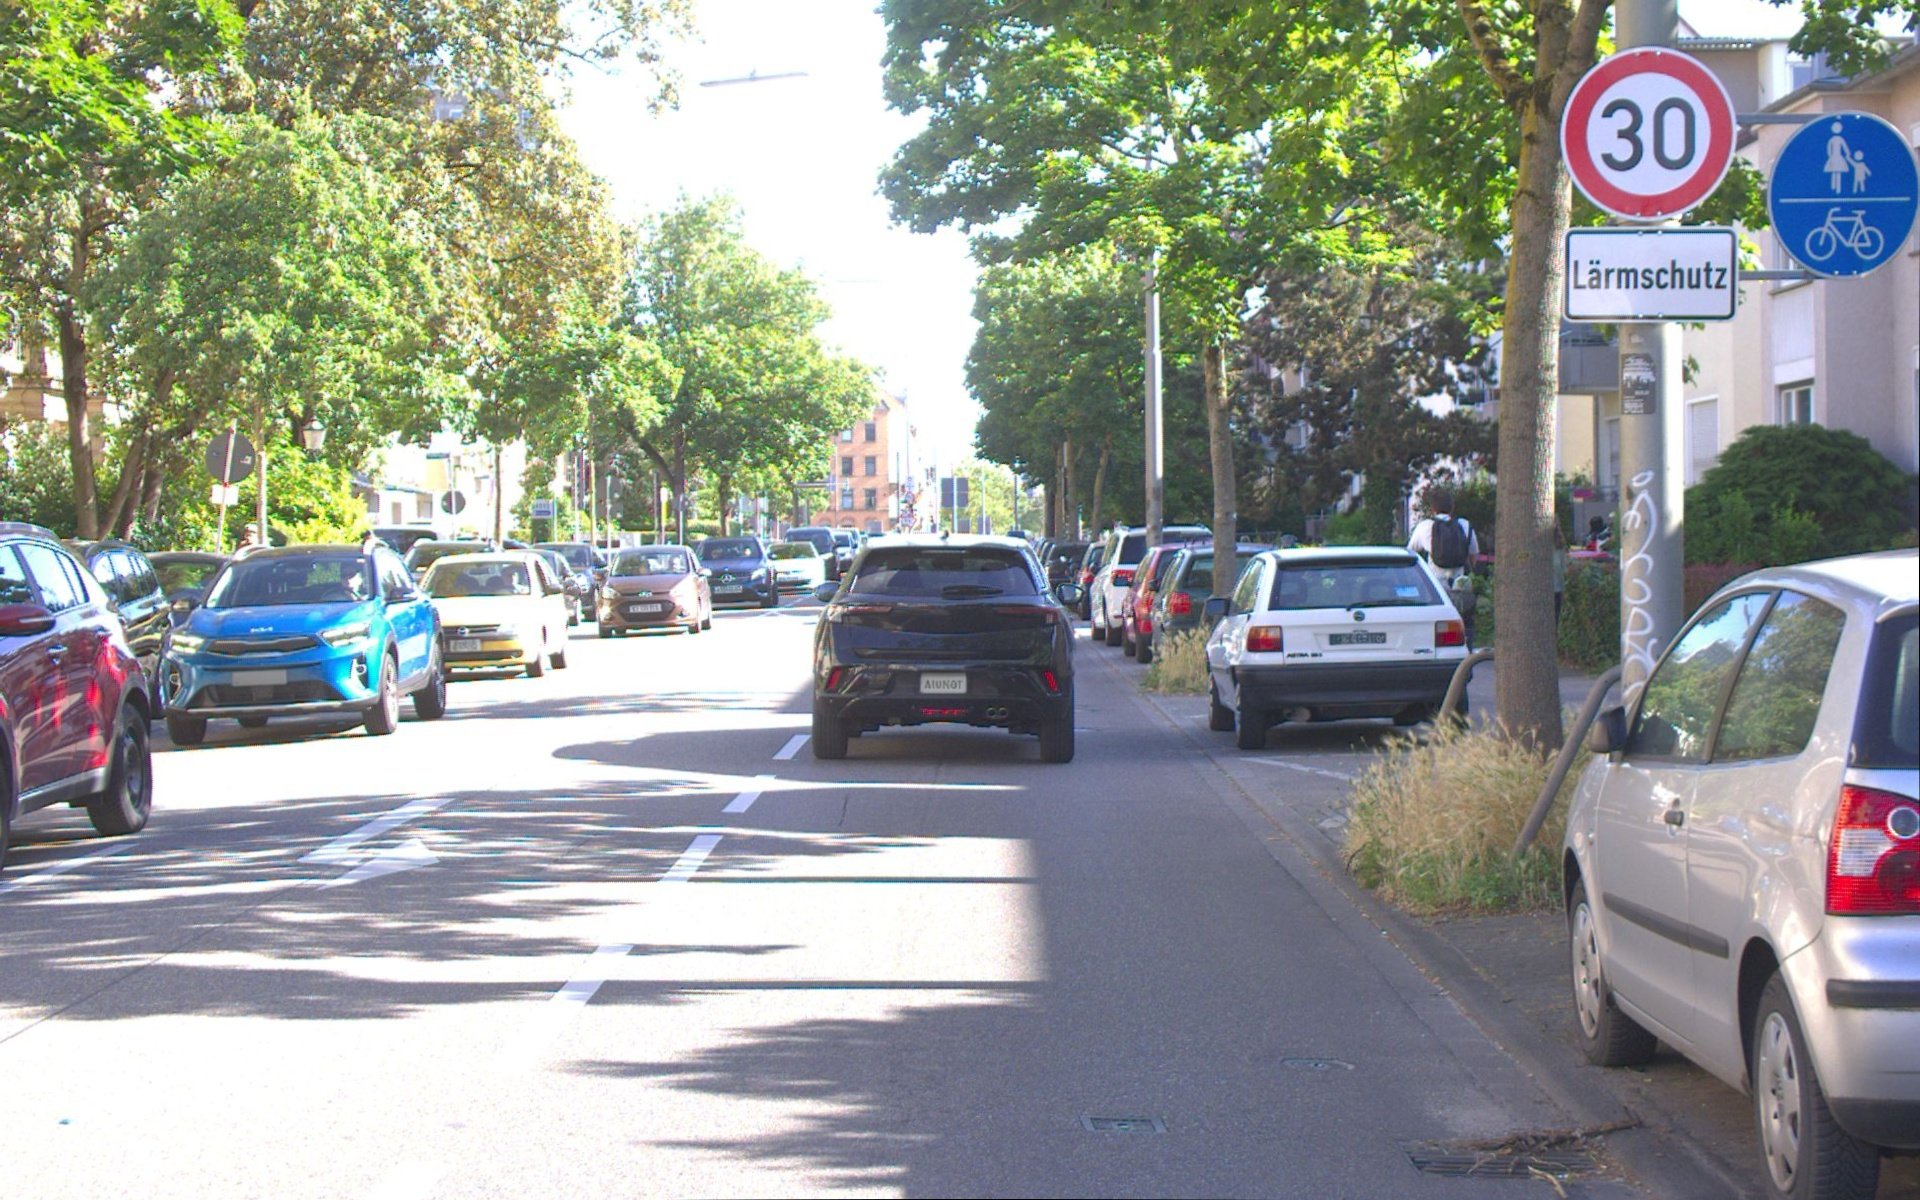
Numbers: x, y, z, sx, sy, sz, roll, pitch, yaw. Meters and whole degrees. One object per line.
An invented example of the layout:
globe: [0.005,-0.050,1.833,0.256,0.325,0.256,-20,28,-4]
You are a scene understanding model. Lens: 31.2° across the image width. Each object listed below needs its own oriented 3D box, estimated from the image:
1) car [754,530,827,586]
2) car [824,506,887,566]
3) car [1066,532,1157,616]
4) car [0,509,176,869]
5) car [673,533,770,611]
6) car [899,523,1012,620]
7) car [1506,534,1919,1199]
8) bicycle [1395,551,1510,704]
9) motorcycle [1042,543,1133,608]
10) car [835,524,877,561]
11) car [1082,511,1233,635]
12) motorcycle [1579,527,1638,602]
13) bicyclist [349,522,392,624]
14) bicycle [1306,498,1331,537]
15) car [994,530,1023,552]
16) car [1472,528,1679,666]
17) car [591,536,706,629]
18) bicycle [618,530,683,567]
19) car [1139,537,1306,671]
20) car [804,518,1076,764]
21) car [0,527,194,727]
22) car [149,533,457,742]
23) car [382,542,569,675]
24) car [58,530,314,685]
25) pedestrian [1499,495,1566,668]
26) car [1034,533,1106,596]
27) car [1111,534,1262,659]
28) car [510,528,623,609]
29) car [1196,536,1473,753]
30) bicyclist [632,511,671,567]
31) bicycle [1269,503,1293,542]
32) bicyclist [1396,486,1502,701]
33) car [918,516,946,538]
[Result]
car: [-4.624,-1.163,94.315,1.733,1.407,4.192,-3,1,0]
car: [-3.594,-2.222,118.885,2.016,1.945,5.179,-2,1,-1]
car: [2.823,-0.506,64.453,1.620,1.494,3.649,-1,1,2]
car: [-5.174,0.418,16.411,1.721,1.611,4.300,-3,1,1]
car: [-5.300,-0.652,76.872,1.836,1.608,4.401,-3,1,0]
car: [-0.040,-0.506,57.879,1.830,1.573,3.839,-1,1,1]
car: [2.499,0.567,8.773,1.567,1.452,3.865,-2,1,0]
bicycle: [4.203,0.212,29.445,0.698,1.242,1.822,-1,1,0]
motorcycle: [2.549,-0.498,69.270,0.697,1.267,2.432,-3,1,-27]
car: [-4.851,-2.699,161.482,1.806,1.642,4.673,-3,1,0]
car: [2.766,-0.411,48.909,1.769,1.653,4.341,-1,1,-1]
motorcycle: [12.183,-0.675,64.620,0.636,1.371,2.426,-1,1,0]
bicyclist: [-10.119,-0.469,59.022,0.608,1.748,0.691,0,1,0]
bicycle: [12.069,-2.779,115.745,0.591,1.283,1.689,-3,1,1]
car: [3.642,-4.387,256.705,1.994,1.514,4.000,2,1,2]
car: [6.657,-0.067,37.481,1.532,1.351,3.718,-3,1,0]
car: [-5.164,-0.321,57.309,1.581,1.446,3.745,-2,1,-1]
bicycle: [-10.124,-1.684,112.559,2.186,1.188,0.449,-2,1,-37]
car: [2.821,0.007,37.538,1.532,1.351,3.718,-1,1,0]
car: [-0.128,0.238,24.193,1.745,1.568,3.558,1,1,0]
car: [-7.931,0.171,29.666,1.670,1.599,4.394,1,1,0]
car: [-5.292,0.247,28.161,1.655,1.512,4.076,-3,1,0]
car: [-5.549,0.065,39.741,1.634,1.398,3.736,-2,1,-1]
car: [-7.827,0.037,35.087,1.601,1.472,3.931,1,1,2]
pedestrian: [5.615,-0.182,33.734,0.538,1.671,0.493,-1,1,0]
car: [2.567,-0.848,80.777,1.586,1.391,4.454,-2,1,1]
car: [2.748,-0.076,42.265,1.531,1.444,3.718,-1,1,-1]
car: [-7.786,-0.654,68.331,1.678,1.549,4.007,1,1,1]
car: [2.674,0.266,25.301,1.649,1.398,3.970,-2,1,1]
bicyclist: [-10.105,-1.999,112.549,1.051,1.818,0.660,-1,1,-37]
bicycle: [10.853,-2.631,116.279,0.623,1.283,1.842,-3,1,1]
bicyclist: [4.169,-0.062,29.386,0.724,1.787,1.016,-1,1,0]
car: [-1.907,-4.975,234.855,1.771,1.447,3.886,0,1,-2]
